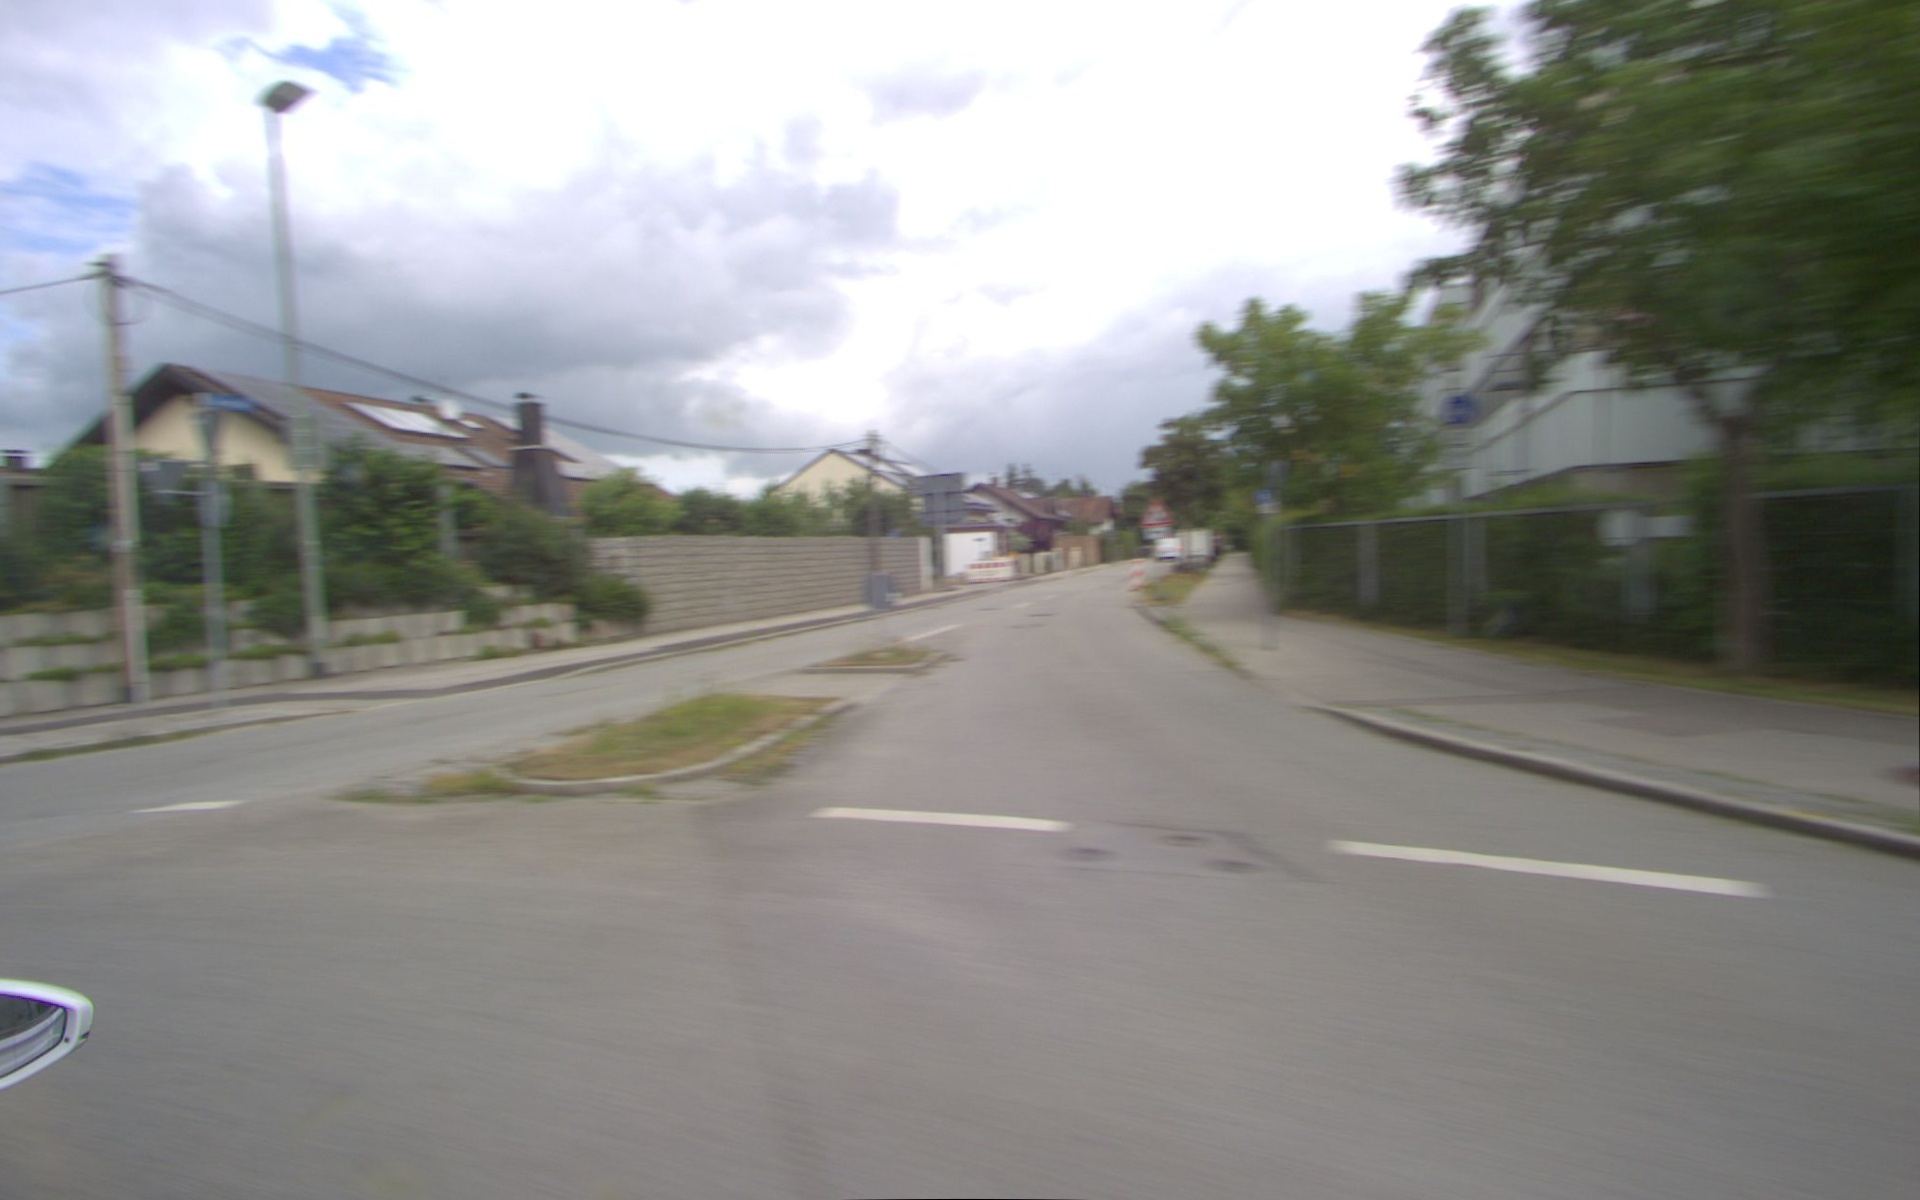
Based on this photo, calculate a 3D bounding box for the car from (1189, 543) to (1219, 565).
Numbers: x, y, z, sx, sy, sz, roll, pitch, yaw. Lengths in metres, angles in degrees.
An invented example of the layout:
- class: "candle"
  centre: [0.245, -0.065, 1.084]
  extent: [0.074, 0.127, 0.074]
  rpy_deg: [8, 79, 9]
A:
- class: "car"
  centre: [17.533, -3.334, 71.939]
  extent: [1.963, 1.506, 3.991]
  rpy_deg: [0, 3, 16]

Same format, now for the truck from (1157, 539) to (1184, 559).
- class: "truck"
  centre: [17.850, -4.323, 84.891]
  extent: [1.734, 1.665, 4.388]
  rpy_deg: [-1, 3, 18]

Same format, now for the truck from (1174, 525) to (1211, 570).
- class: "truck"
  centre: [13.737, -3.086, 59.126]
  extent: [1.735, 2.504, 4.388]
  rpy_deg: [0, 3, 18]
